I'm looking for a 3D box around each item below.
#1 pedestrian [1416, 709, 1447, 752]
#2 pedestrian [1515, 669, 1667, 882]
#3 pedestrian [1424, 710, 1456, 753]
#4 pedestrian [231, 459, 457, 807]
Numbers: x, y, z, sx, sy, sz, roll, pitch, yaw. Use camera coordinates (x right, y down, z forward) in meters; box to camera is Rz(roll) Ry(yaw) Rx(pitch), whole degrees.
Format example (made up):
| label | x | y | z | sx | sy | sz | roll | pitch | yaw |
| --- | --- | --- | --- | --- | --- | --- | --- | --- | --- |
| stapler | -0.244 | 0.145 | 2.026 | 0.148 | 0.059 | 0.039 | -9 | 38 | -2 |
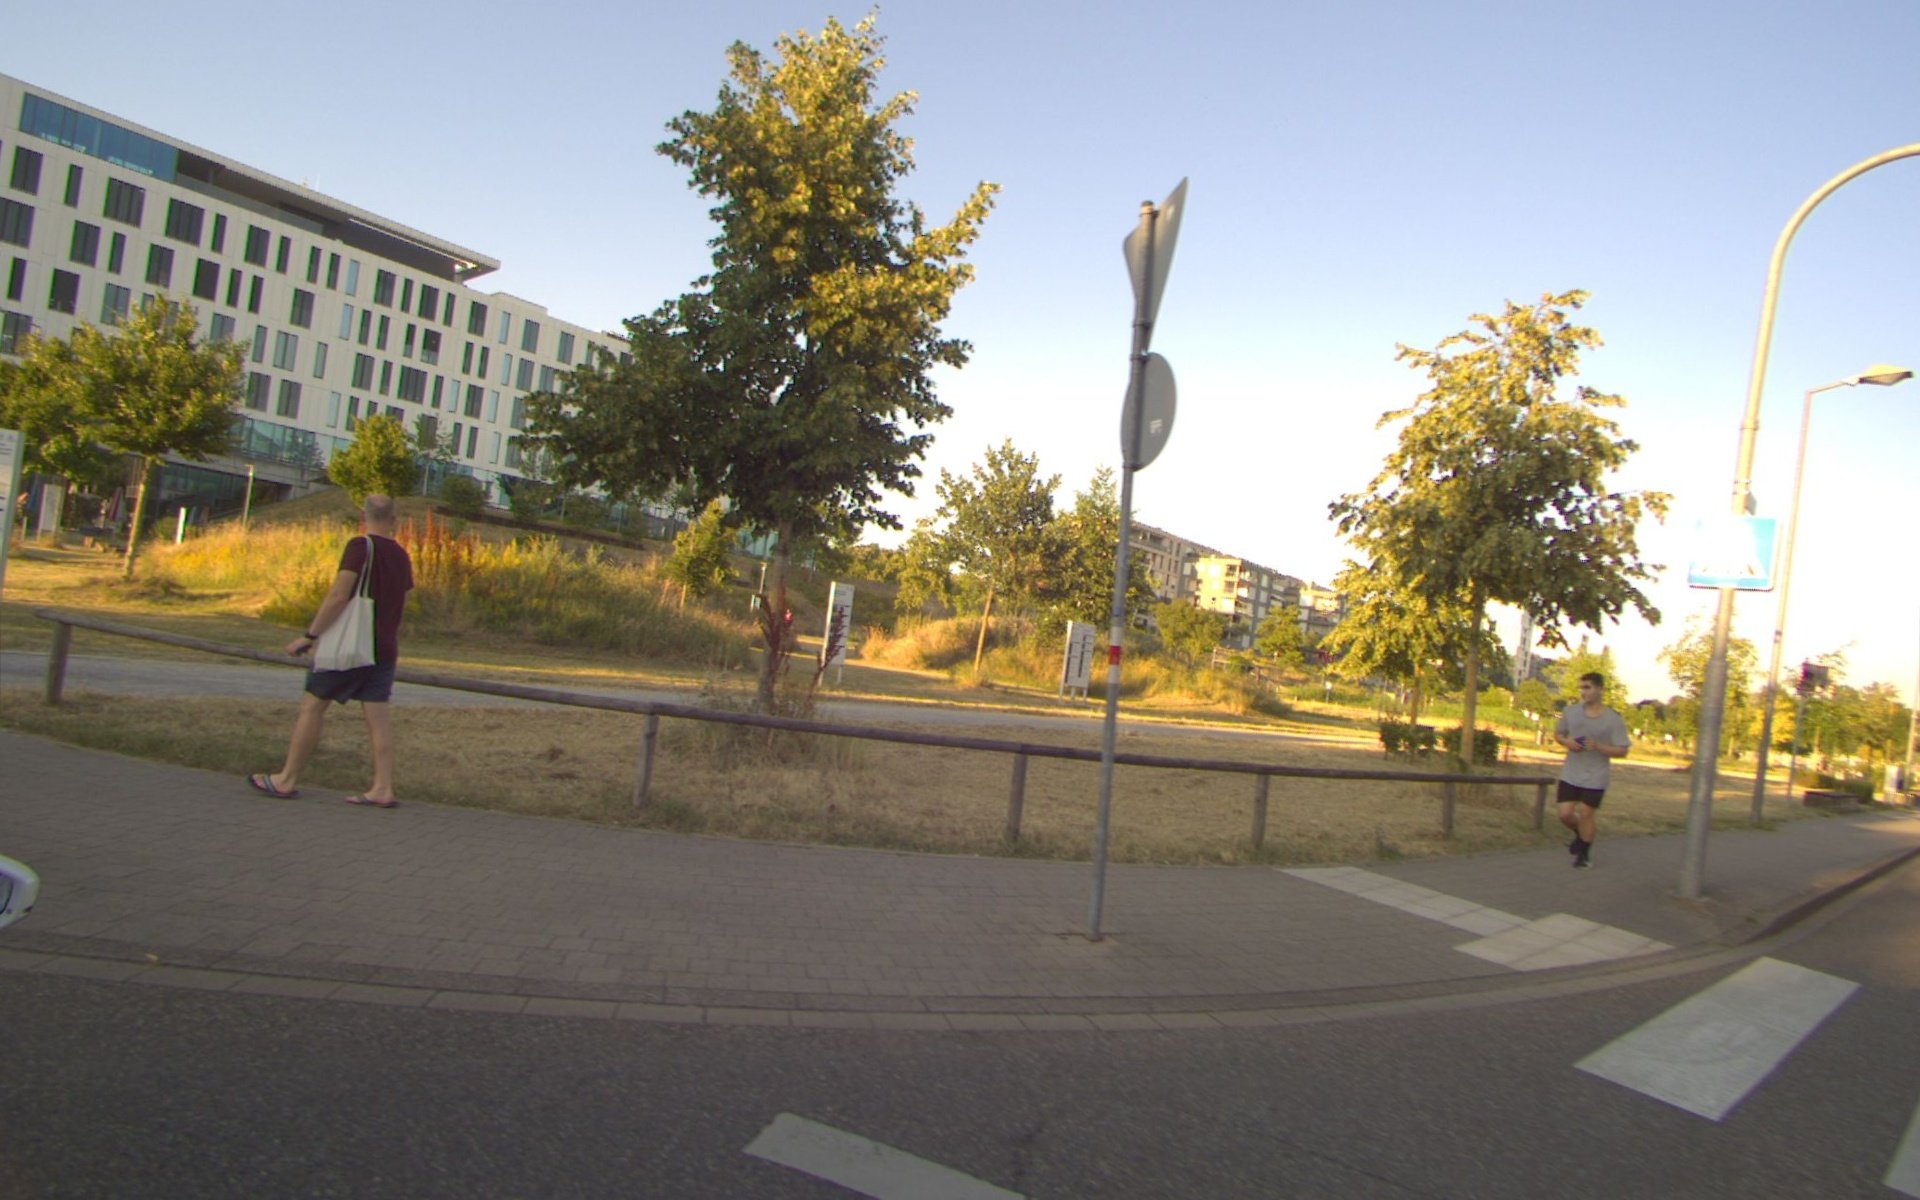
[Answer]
| label | x | y | z | sx | sy | sz | roll | pitch | yaw |
| --- | --- | --- | --- | --- | --- | --- | --- | --- | --- |
| pedestrian | 12.179 | 3.376 | 25.971 | 0.493 | 1.016 | 0.479 | 8 | 0 | 42 |
| pedestrian | 5.750 | 1.580 | 9.174 | 0.796 | 1.750 | 0.759 | 9 | 0 | -38 |
| pedestrian | 12.610 | 3.456 | 26.448 | 0.493 | 1.016 | 0.569 | 8 | 0 | 42 |
| pedestrian | -3.501 | 0.181 | 5.711 | 0.730 | 1.805 | 0.791 | 9 | 0 | -45 |
